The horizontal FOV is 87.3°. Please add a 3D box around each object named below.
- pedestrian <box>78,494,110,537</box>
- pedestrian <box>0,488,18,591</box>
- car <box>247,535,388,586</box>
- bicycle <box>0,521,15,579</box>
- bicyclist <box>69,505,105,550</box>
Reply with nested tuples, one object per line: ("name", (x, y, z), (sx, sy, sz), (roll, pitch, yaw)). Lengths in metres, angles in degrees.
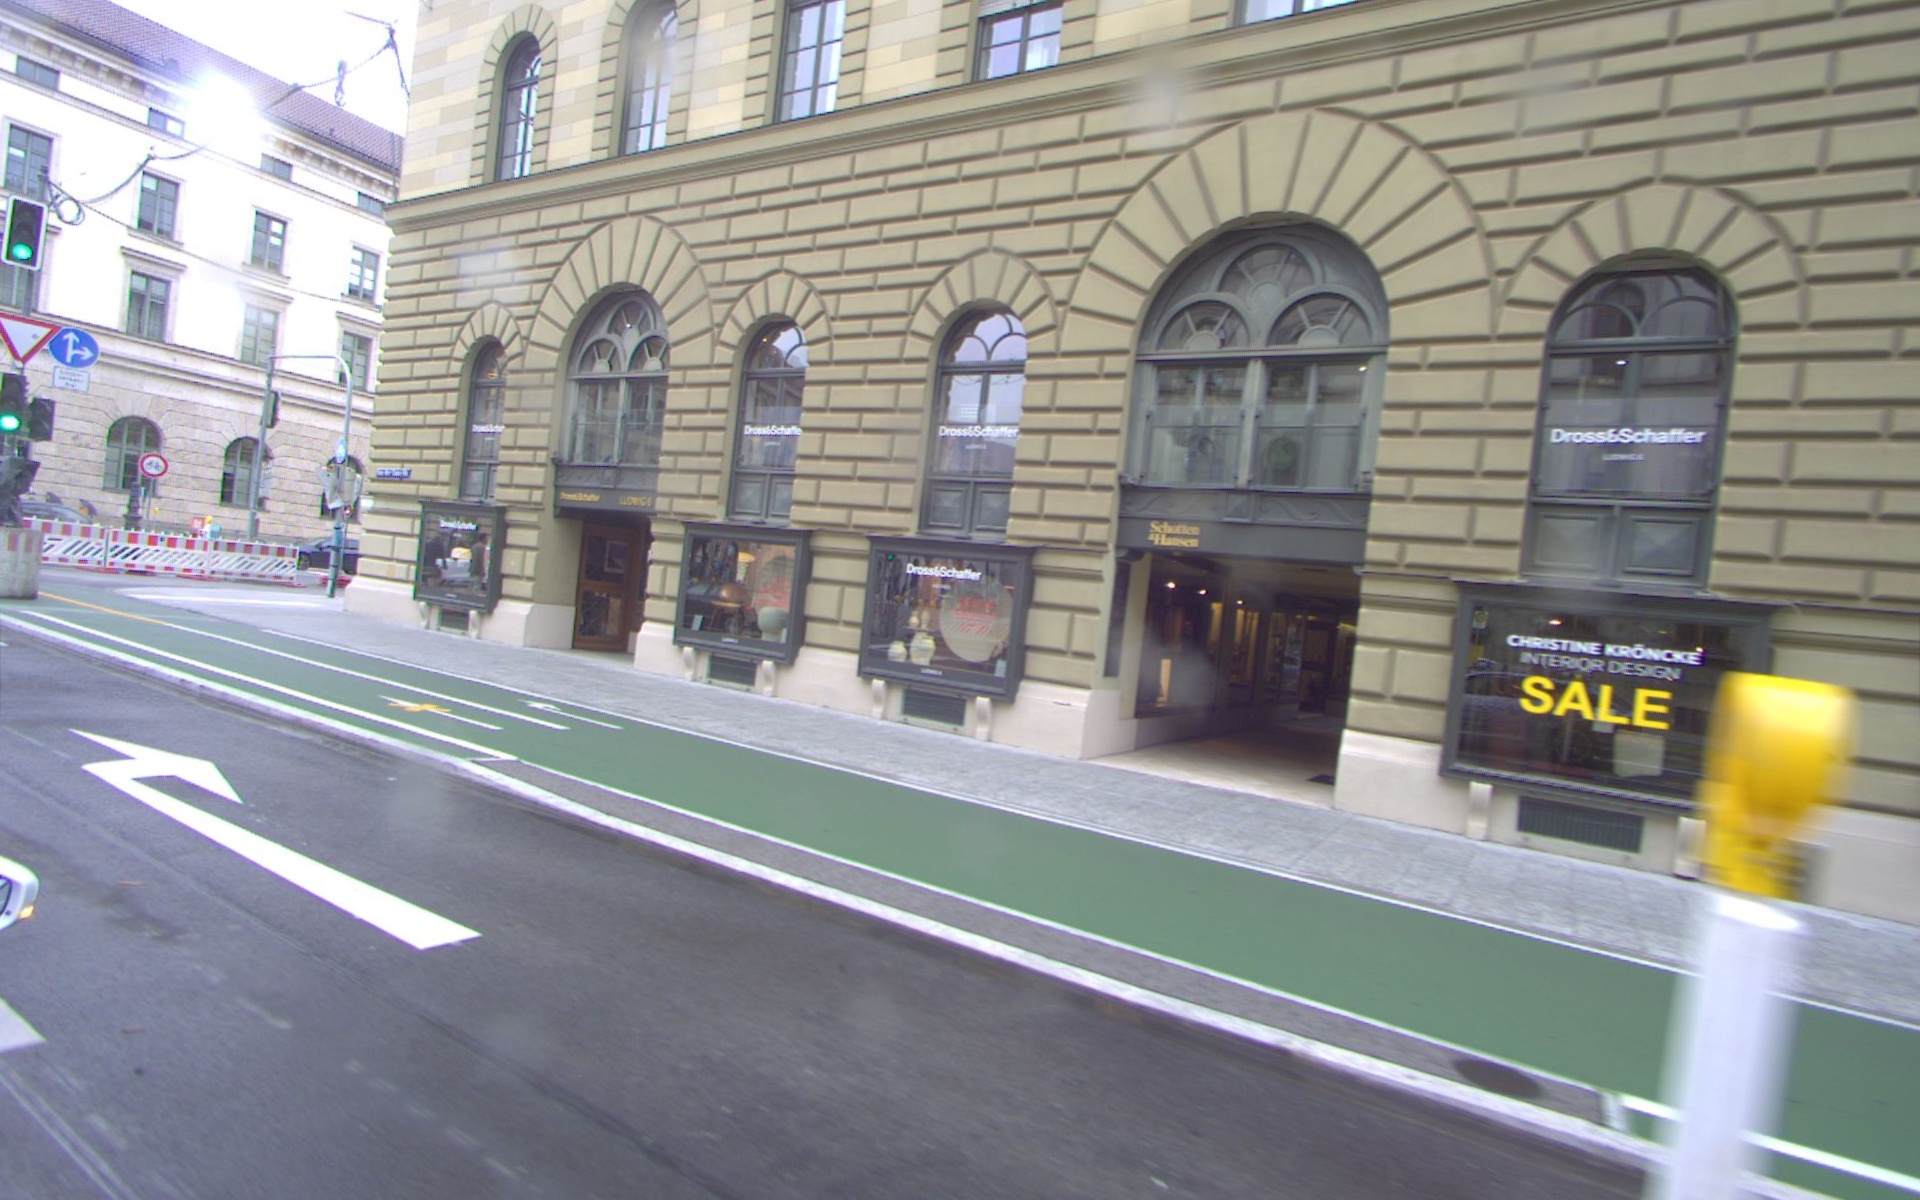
("pedestrian", (-37.400, -3.643, 43.452), (0.807, 1.714, 0.716), (7, 0, 33))
("pedestrian", (-15.424, -1.000, 15.760), (0.671, 1.586, 0.703), (7, 0, 34))
("car", (-24.932, -1.516, 39.212), (1.721, 1.404, 4.233), (5, -2, 31))
("bicycle", (-17.880, -0.991, 17.712), (1.631, 1.023, 0.585), (8, 0, -16))
("bicyclist", (-34.238, -2.832, 39.462), (0.782, 1.634, 0.744), (7, 0, 35))
